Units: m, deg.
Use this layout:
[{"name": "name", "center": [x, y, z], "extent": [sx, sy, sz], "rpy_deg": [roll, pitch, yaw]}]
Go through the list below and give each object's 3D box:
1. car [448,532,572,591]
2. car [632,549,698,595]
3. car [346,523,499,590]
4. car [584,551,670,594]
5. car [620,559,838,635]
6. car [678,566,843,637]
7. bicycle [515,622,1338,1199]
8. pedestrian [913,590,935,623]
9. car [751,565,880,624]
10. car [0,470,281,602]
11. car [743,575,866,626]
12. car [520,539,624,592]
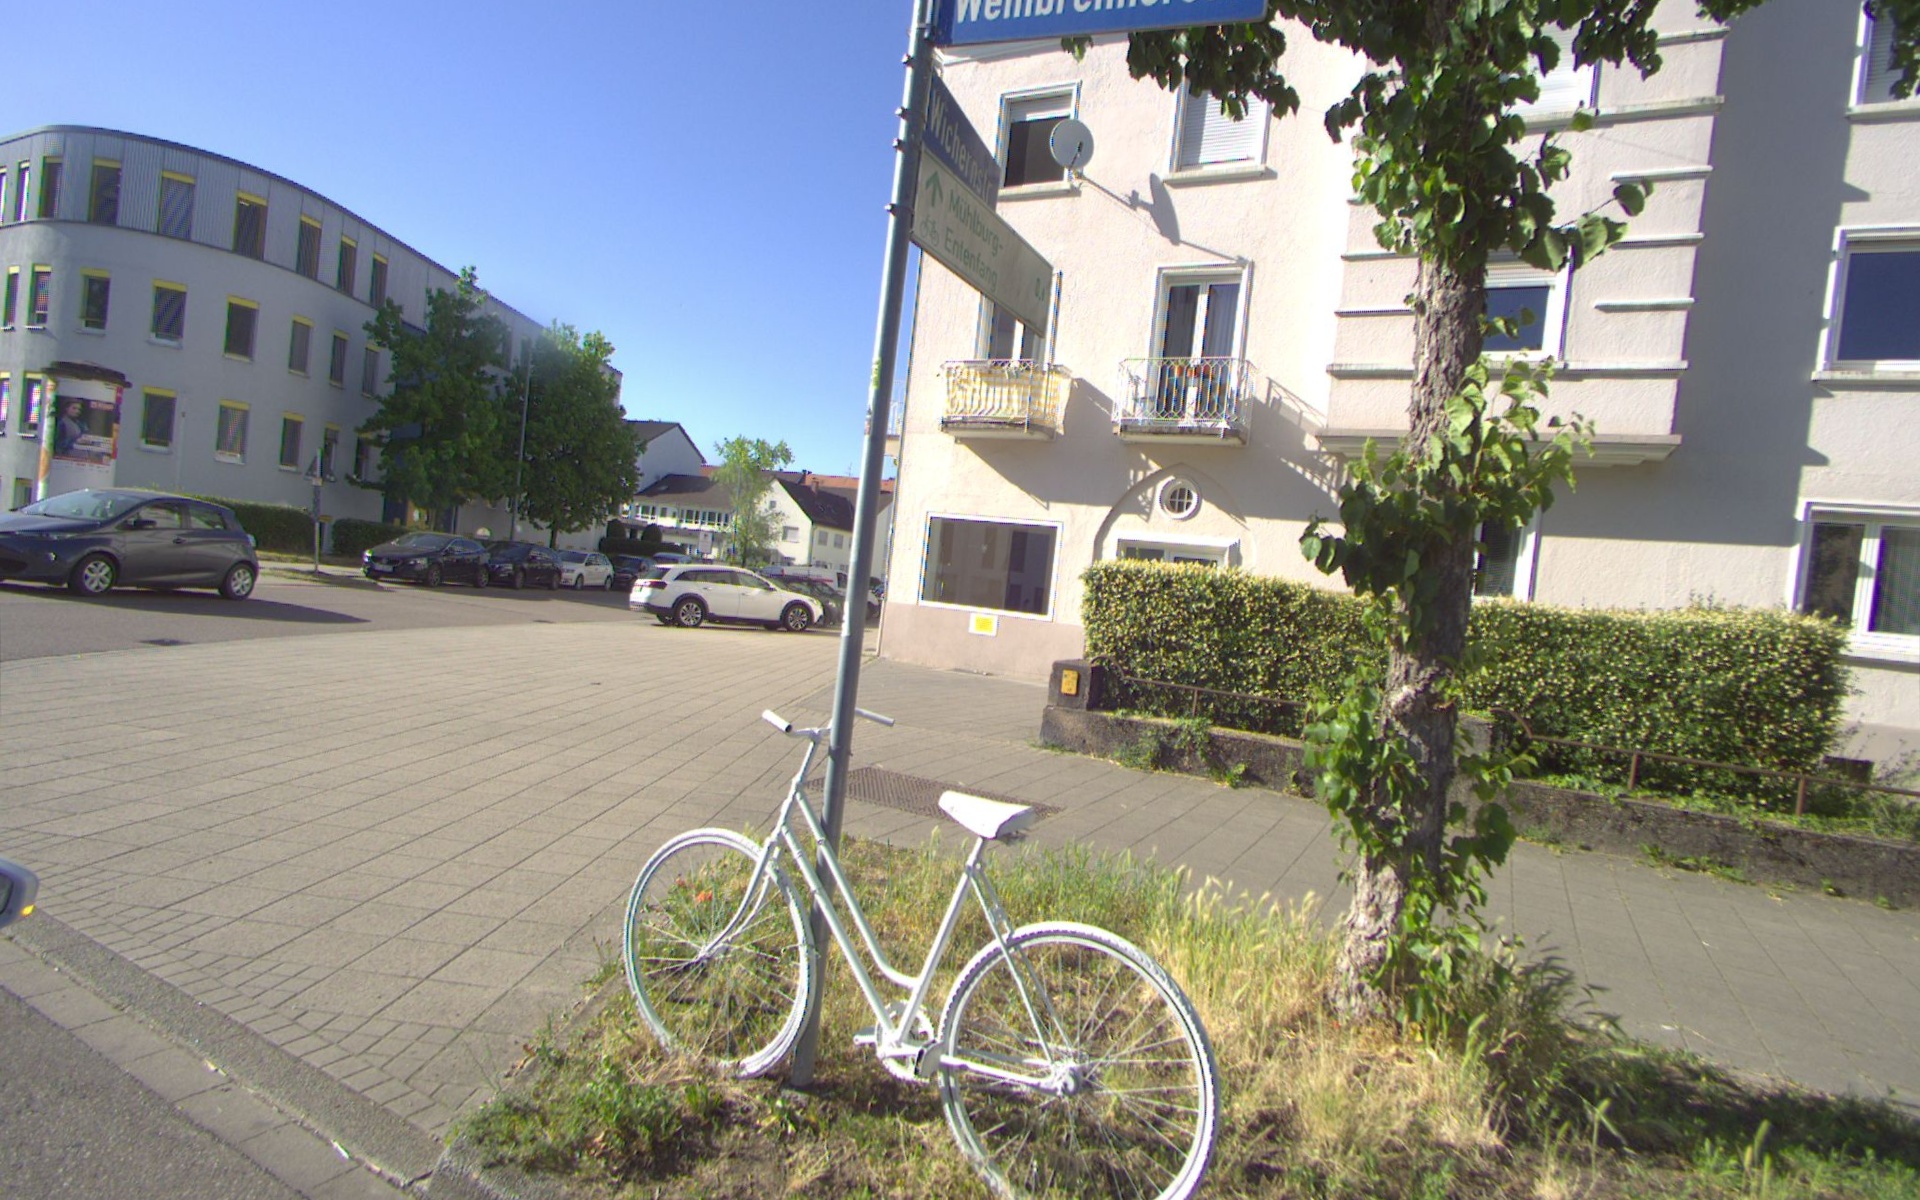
[{"name": "car", "center": [-14.515, -1.180, 32.747], "extent": [1.879, 1.497, 4.380], "rpy_deg": [7, 0, 1]}, {"name": "car", "center": [-13.944, -1.275, 47.731], "extent": [1.662, 1.862, 4.339], "rpy_deg": [7, 1, 0]}, {"name": "car", "center": [-14.656, -1.130, 27.716], "extent": [1.761, 1.428, 4.222], "rpy_deg": [7, 0, 1]}, {"name": "car", "center": [-14.003, -1.110, 42.608], "extent": [1.705, 1.457, 4.611], "rpy_deg": [7, 0, 4]}, {"name": "car", "center": [-5.652, -0.049, 24.858], "extent": [4.820, 1.483, 1.956], "rpy_deg": [4, 2, -33]}, {"name": "car", "center": [-5.630, 0.047, 28.478], "extent": [4.128, 1.515, 1.808], "rpy_deg": [7, -1, -32]}, {"name": "bicycle", "center": [-0.162, 0.775, 2.603], "extent": [1.994, 1.208, 0.529], "rpy_deg": [6, 1, 25]}, {"name": "pedestrian", "center": [-1.851, 0.335, 51.472], "extent": [0.819, 1.614, 0.889], "rpy_deg": [6, 1, 7]}, {"name": "car", "center": [-5.566, -0.179, 39.019], "extent": [4.491, 1.921, 2.029], "rpy_deg": [5, -1, -39]}, {"name": "car", "center": [-12.498, -0.882, 14.895], "extent": [1.808, 1.522, 4.140], "rpy_deg": [7, -1, 3]}, {"name": "car", "center": [-5.475, 0.024, 35.586], "extent": [3.949, 1.508, 1.605], "rpy_deg": [4, -1, -30]}, {"name": "car", "center": [-14.407, -1.243, 37.646], "extent": [1.879, 1.549, 4.624], "rpy_deg": [7, 0, 1]}]
